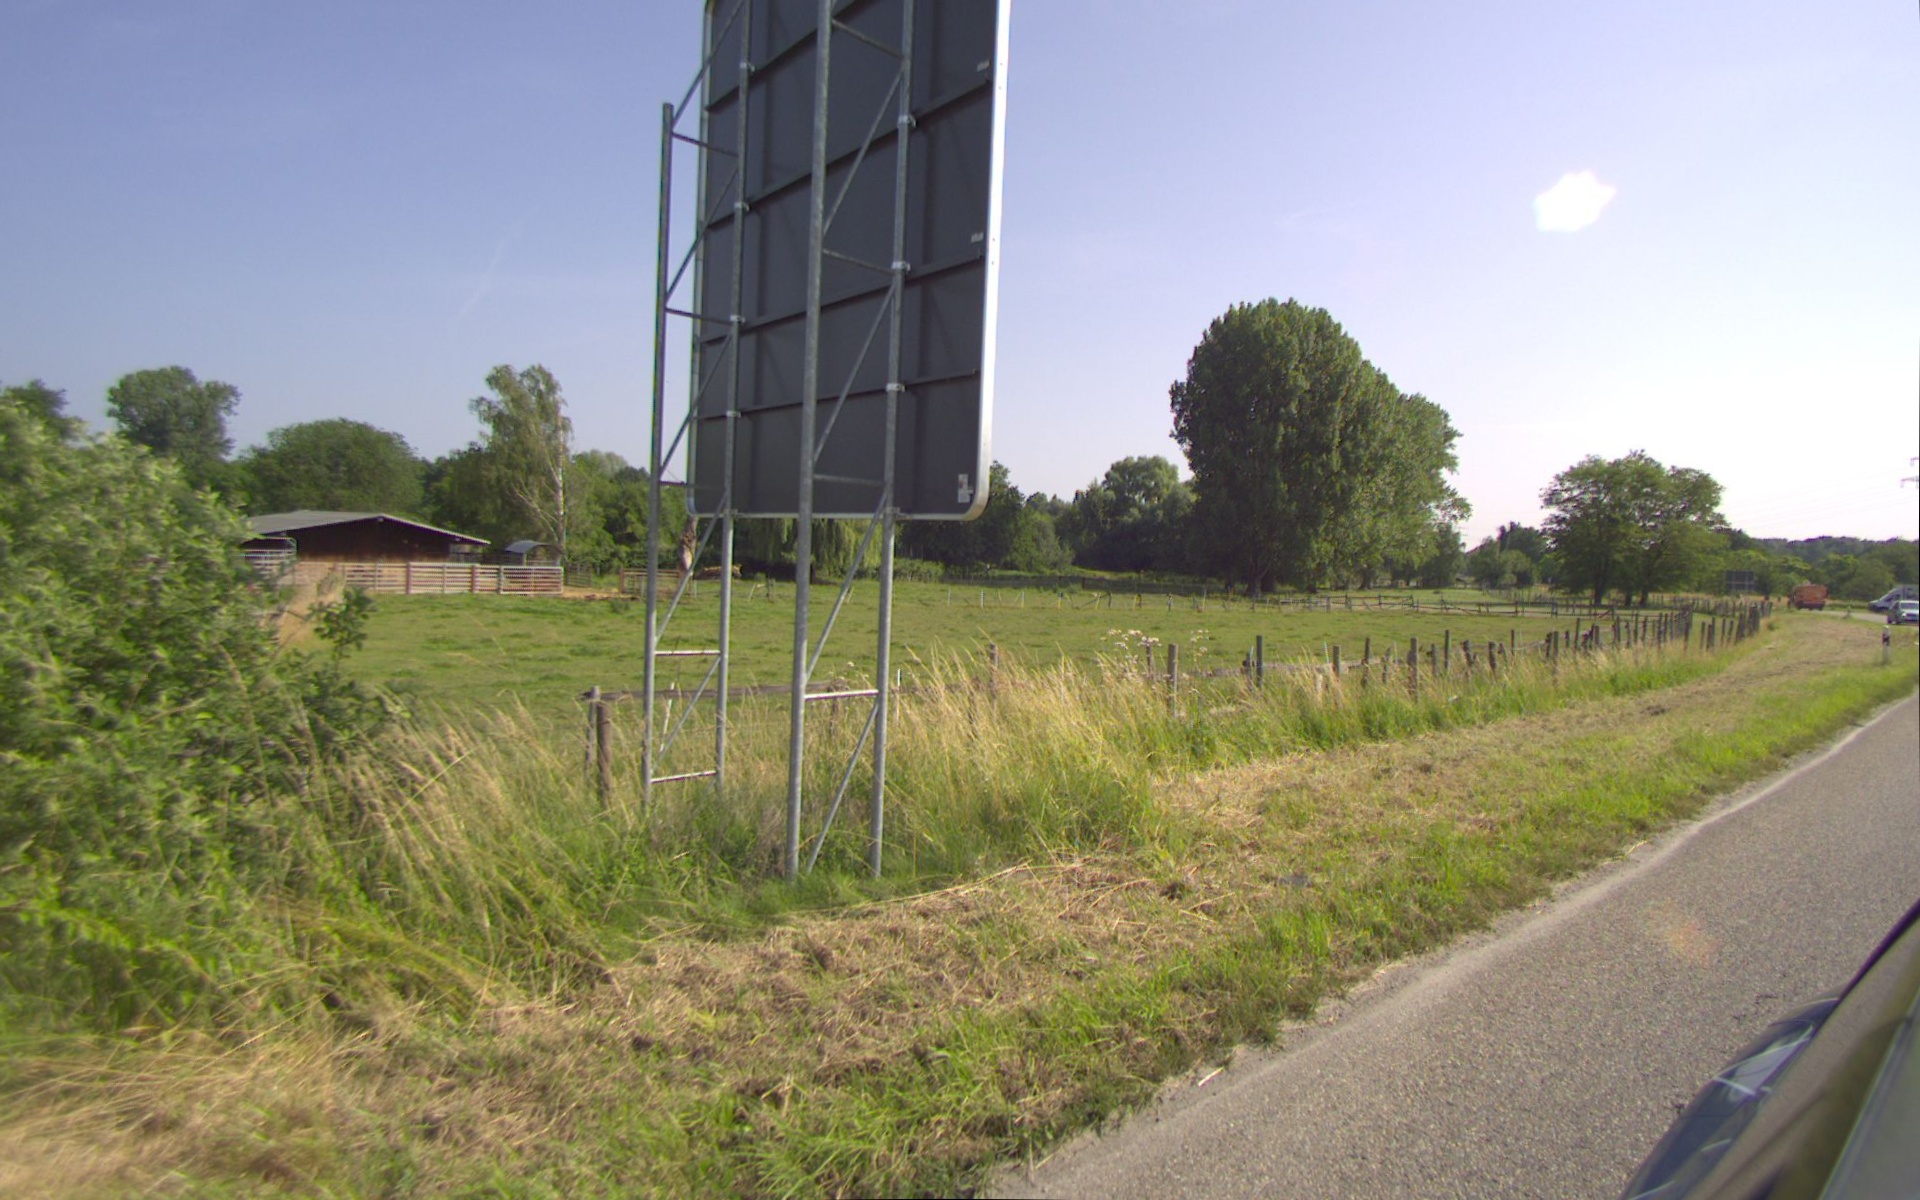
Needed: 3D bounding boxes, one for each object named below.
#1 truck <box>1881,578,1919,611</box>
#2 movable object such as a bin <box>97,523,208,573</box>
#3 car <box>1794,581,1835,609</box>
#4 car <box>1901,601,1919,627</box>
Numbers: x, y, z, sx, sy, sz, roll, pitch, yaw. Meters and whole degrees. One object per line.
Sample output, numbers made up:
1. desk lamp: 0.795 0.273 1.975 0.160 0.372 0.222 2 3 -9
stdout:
1. truck: 94.876 -0.459 98.601 7.329 3.083 2.548 3 2 39
2. movable object such as a bin: -39.160 -2.509 49.124 4.092 2.221 1.997 0 2 -42
3. car: 87.517 -0.544 103.732 2.112 2.729 5.216 2 2 28
4. car: 62.349 0.889 65.366 1.990 1.600 3.854 1 0 39
